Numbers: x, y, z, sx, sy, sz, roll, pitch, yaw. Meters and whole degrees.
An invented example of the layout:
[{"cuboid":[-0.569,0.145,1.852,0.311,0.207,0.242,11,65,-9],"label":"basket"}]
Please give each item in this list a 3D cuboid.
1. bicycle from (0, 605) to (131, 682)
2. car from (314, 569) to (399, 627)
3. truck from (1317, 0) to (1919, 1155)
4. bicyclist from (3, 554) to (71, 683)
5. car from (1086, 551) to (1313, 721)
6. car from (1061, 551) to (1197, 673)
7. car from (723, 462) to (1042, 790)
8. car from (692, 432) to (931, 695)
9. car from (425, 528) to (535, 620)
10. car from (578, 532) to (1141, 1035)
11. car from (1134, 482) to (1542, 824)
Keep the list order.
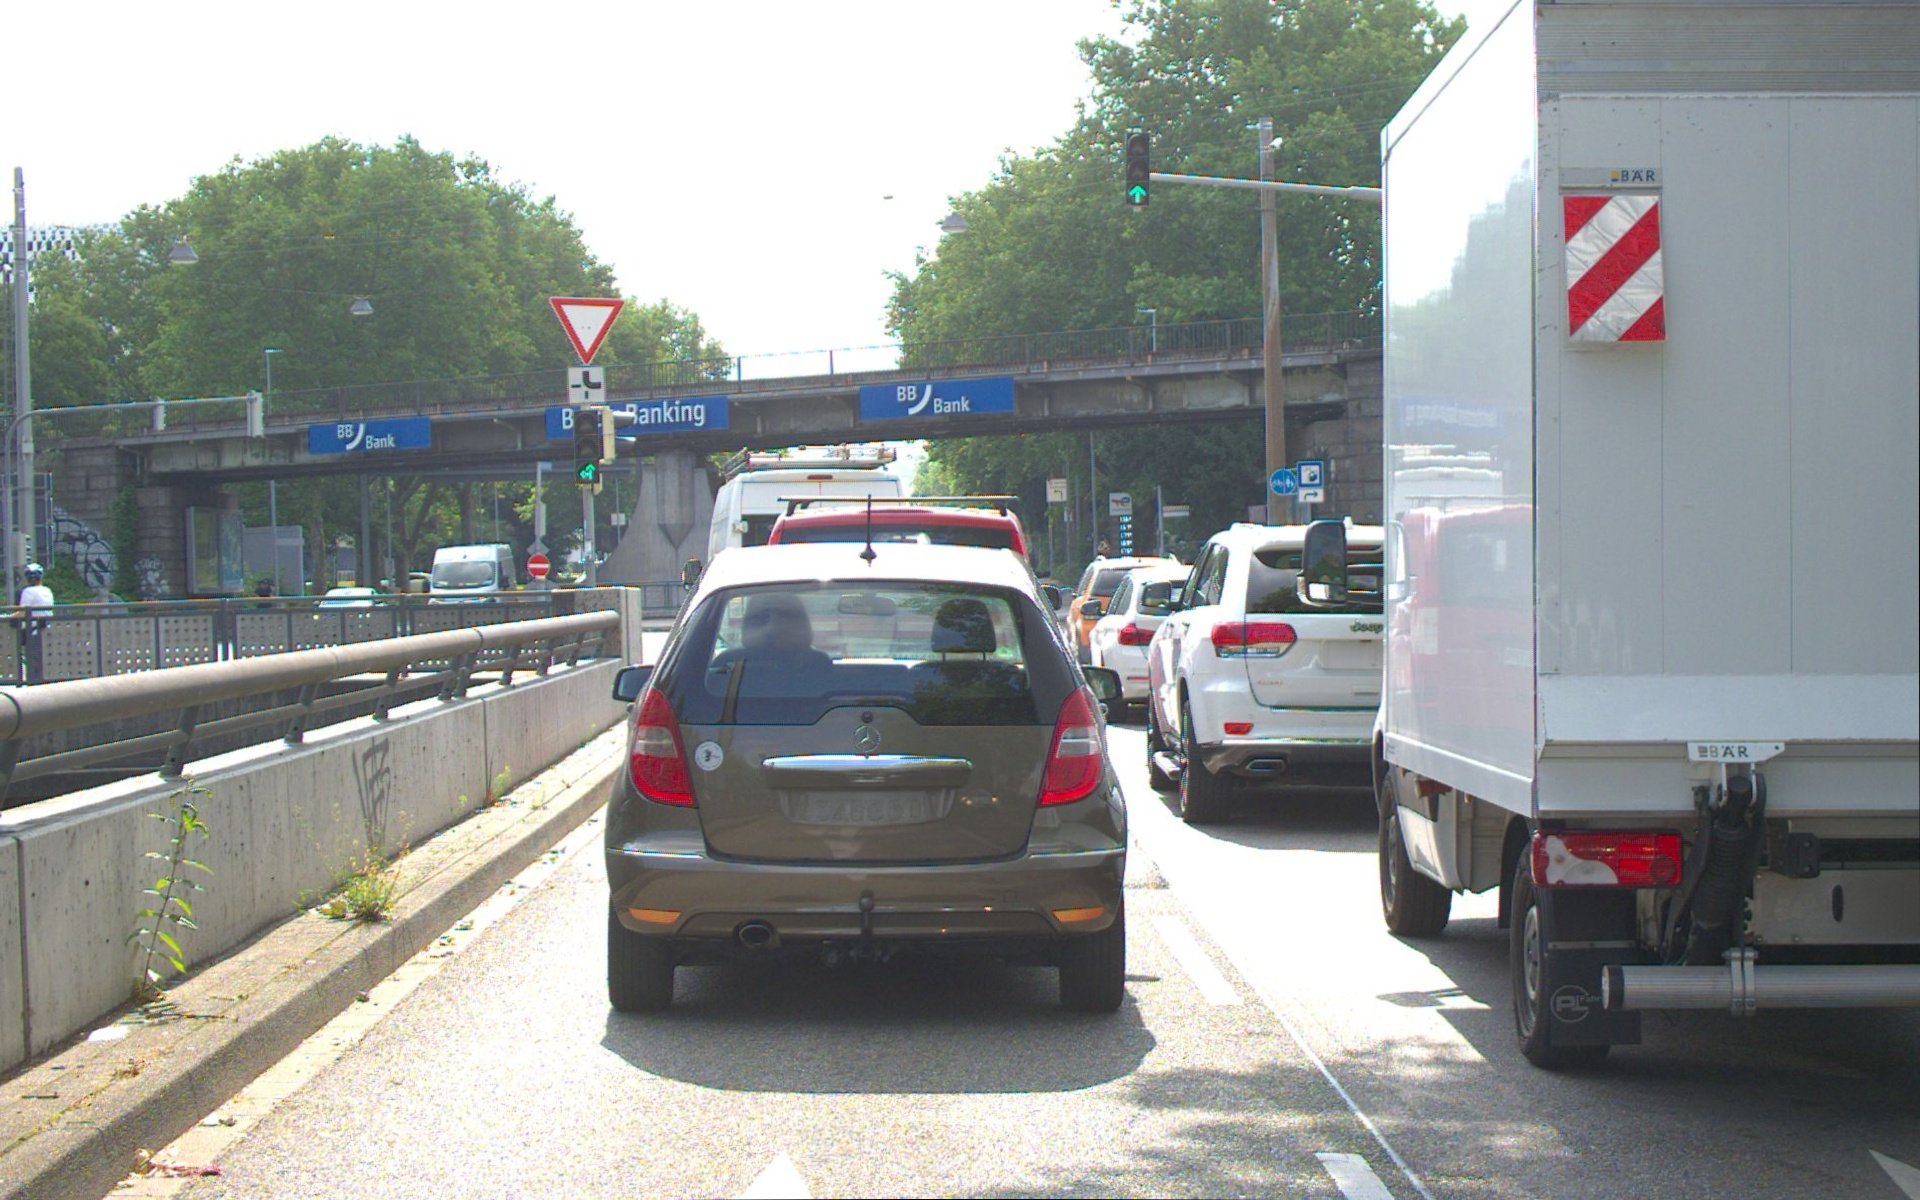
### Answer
[{"cuboid":[-10.191,0.479,37.820,1.972,0.823,0.612,-1,1,3],"label":"bicycle"},{"cuboid":[-16.857,-0.067,96.149,1.702,1.471,4.000,-4,1,-2],"label":"car"},{"cuboid":[2.702,-0.187,11.652,2.447,3.110,6.028,0,0,1],"label":"truck"},{"cuboid":[-10.149,0.200,37.815,0.510,1.399,0.626,-1,1,4],"label":"bicyclist"},{"cuboid":[2.206,0.330,32.514,1.852,1.516,3.617,0,0,-1],"label":"car"},{"cuboid":[2.142,0.154,44.299,1.544,1.516,3.617,0,0,-1],"label":"car"},{"cuboid":[-0.504,0.148,23.456,1.955,2.010,4.677,0,0,-1],"label":"car"},{"cuboid":[-1.724,-0.366,38.065,2.197,2.717,4.932,0,0,-8],"label":"car"},{"cuboid":[-13.723,-0.752,98.651,2.258,2.518,5.626,-1,1,1],"label":"car"},{"cuboid":[-0.339,0.553,12.864,1.792,1.603,3.799,0,1,-1],"label":"car"},{"cuboid":[2.220,0.302,21.378,1.995,1.895,4.509,0,0,-1],"label":"car"}]
